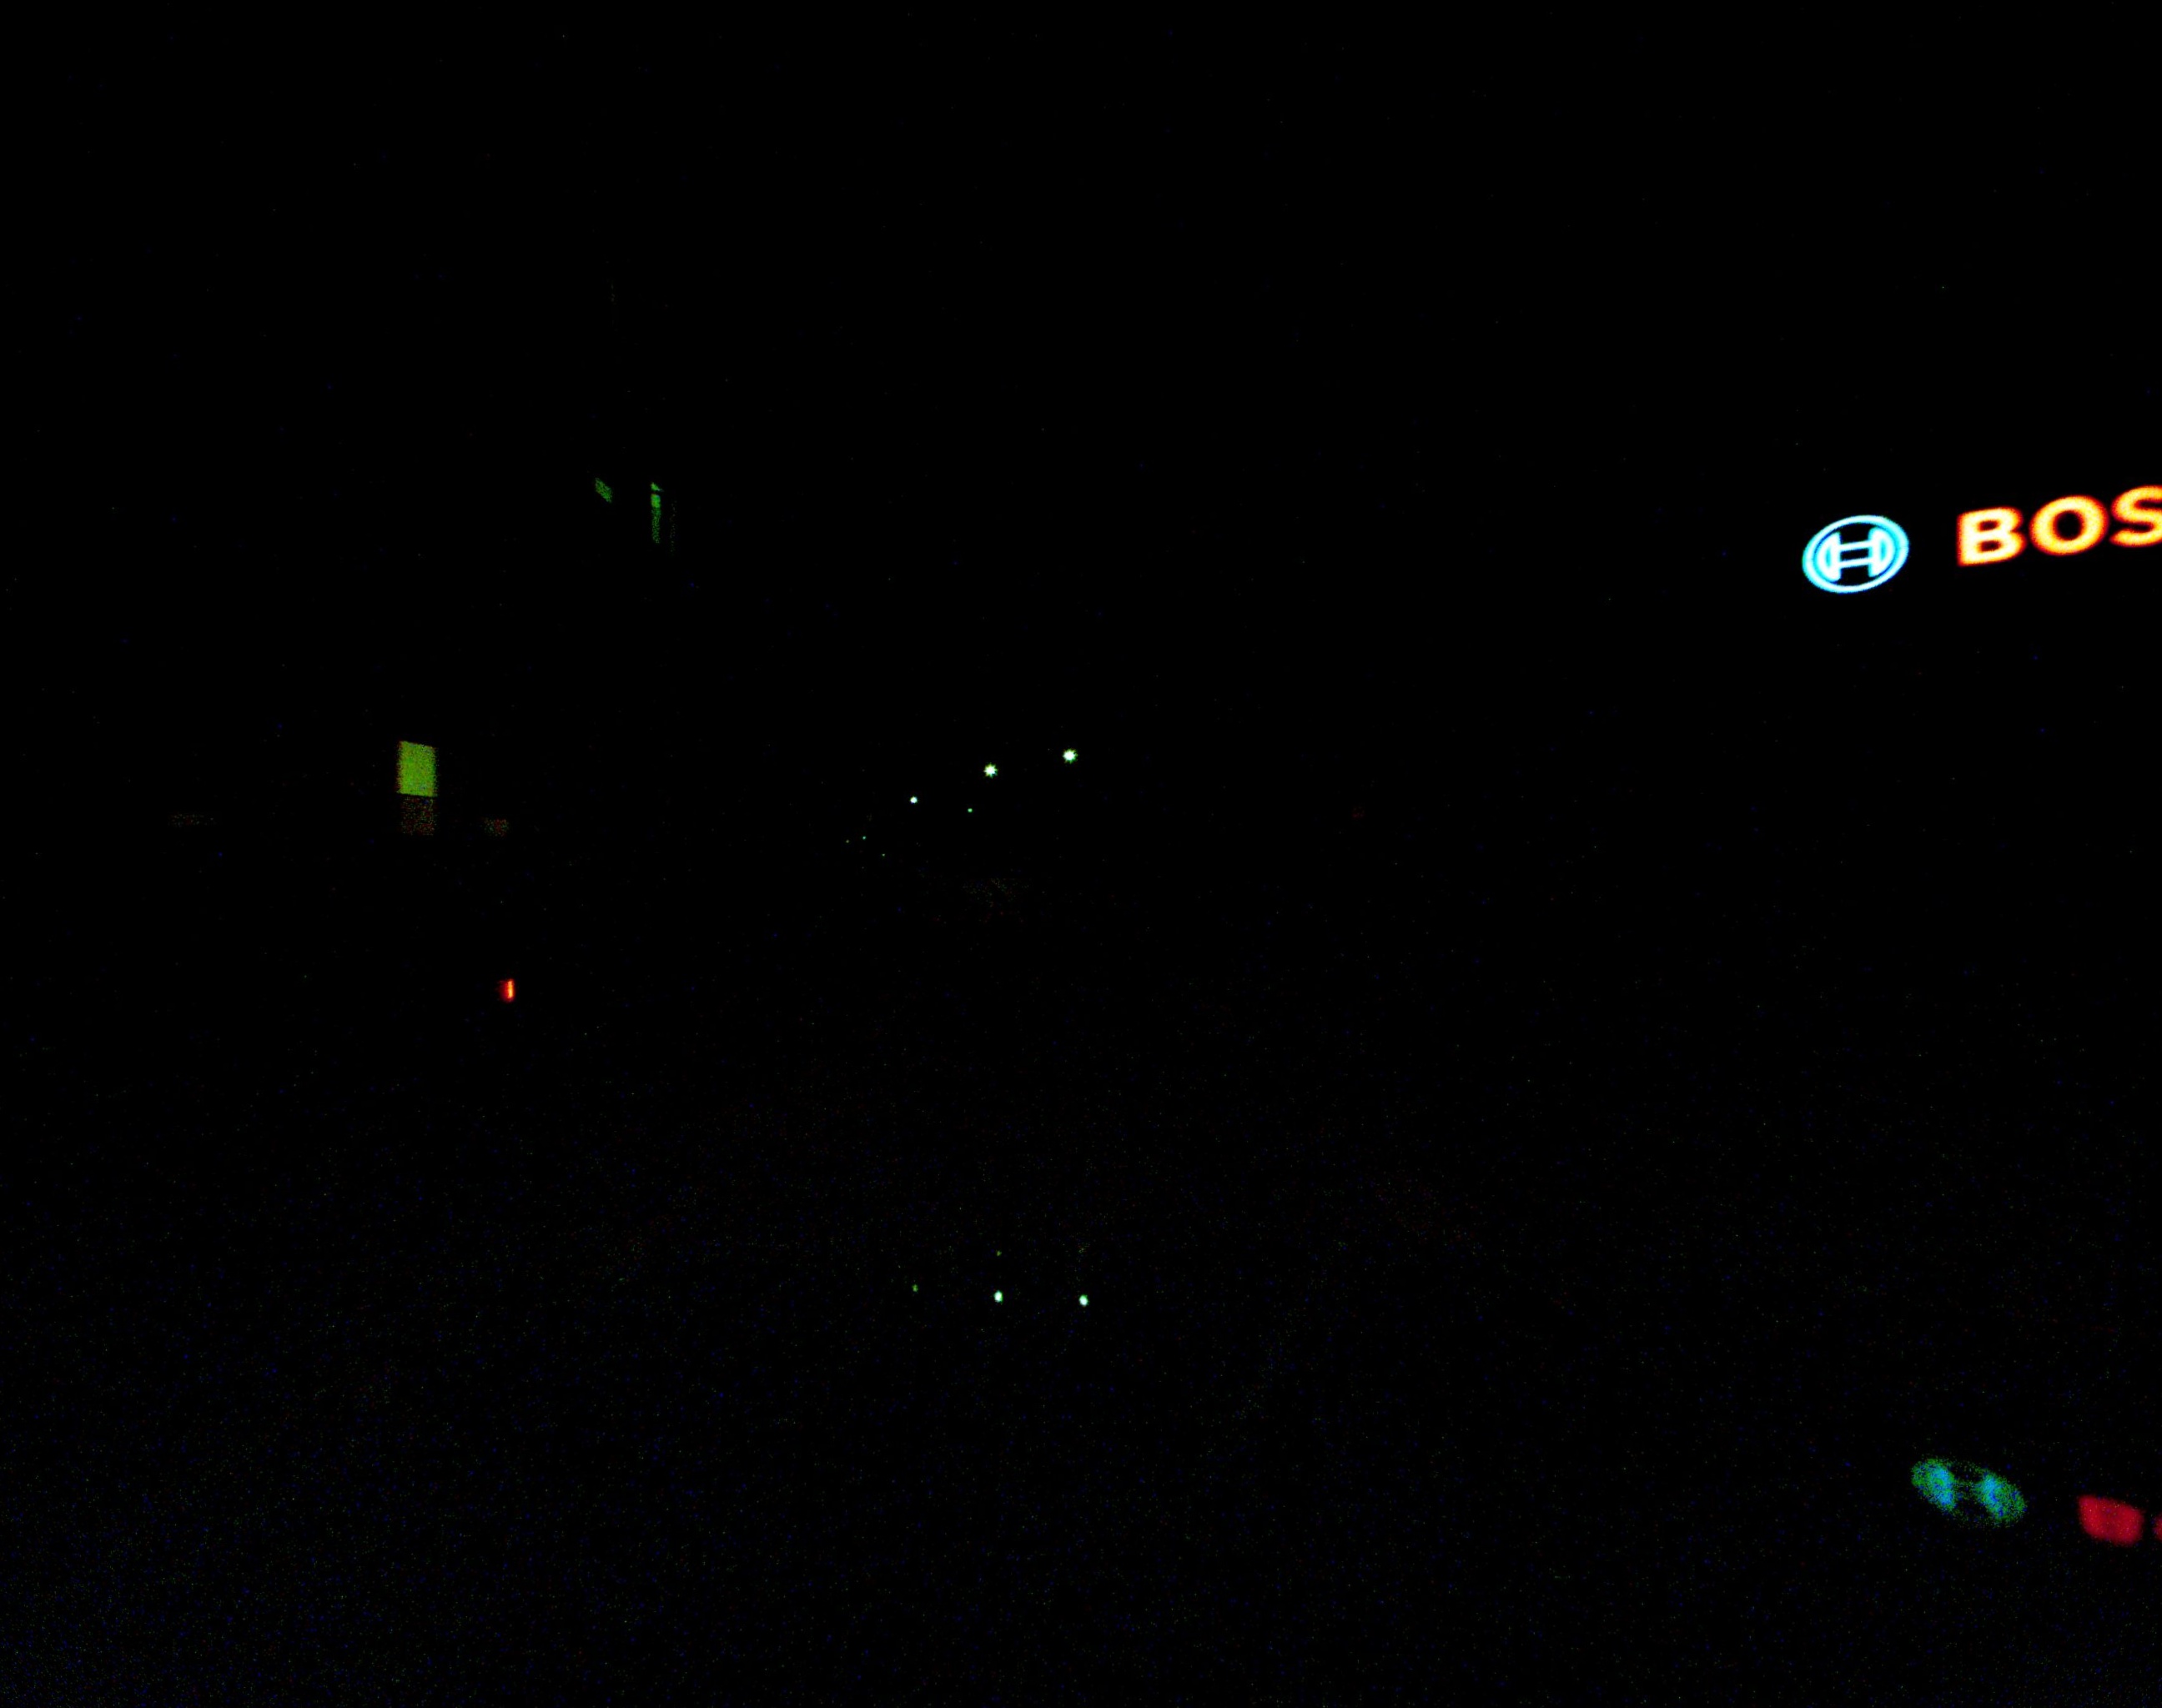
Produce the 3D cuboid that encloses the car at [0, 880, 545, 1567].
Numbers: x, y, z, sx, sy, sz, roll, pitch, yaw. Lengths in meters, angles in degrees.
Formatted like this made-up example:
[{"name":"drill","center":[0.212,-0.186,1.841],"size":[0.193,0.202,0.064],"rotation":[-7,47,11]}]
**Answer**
[{"name":"car","center":[-3.524,0.985,1.651],"size":[1.674,1.601,4.228],"rotation":[-1,1,0]}]
